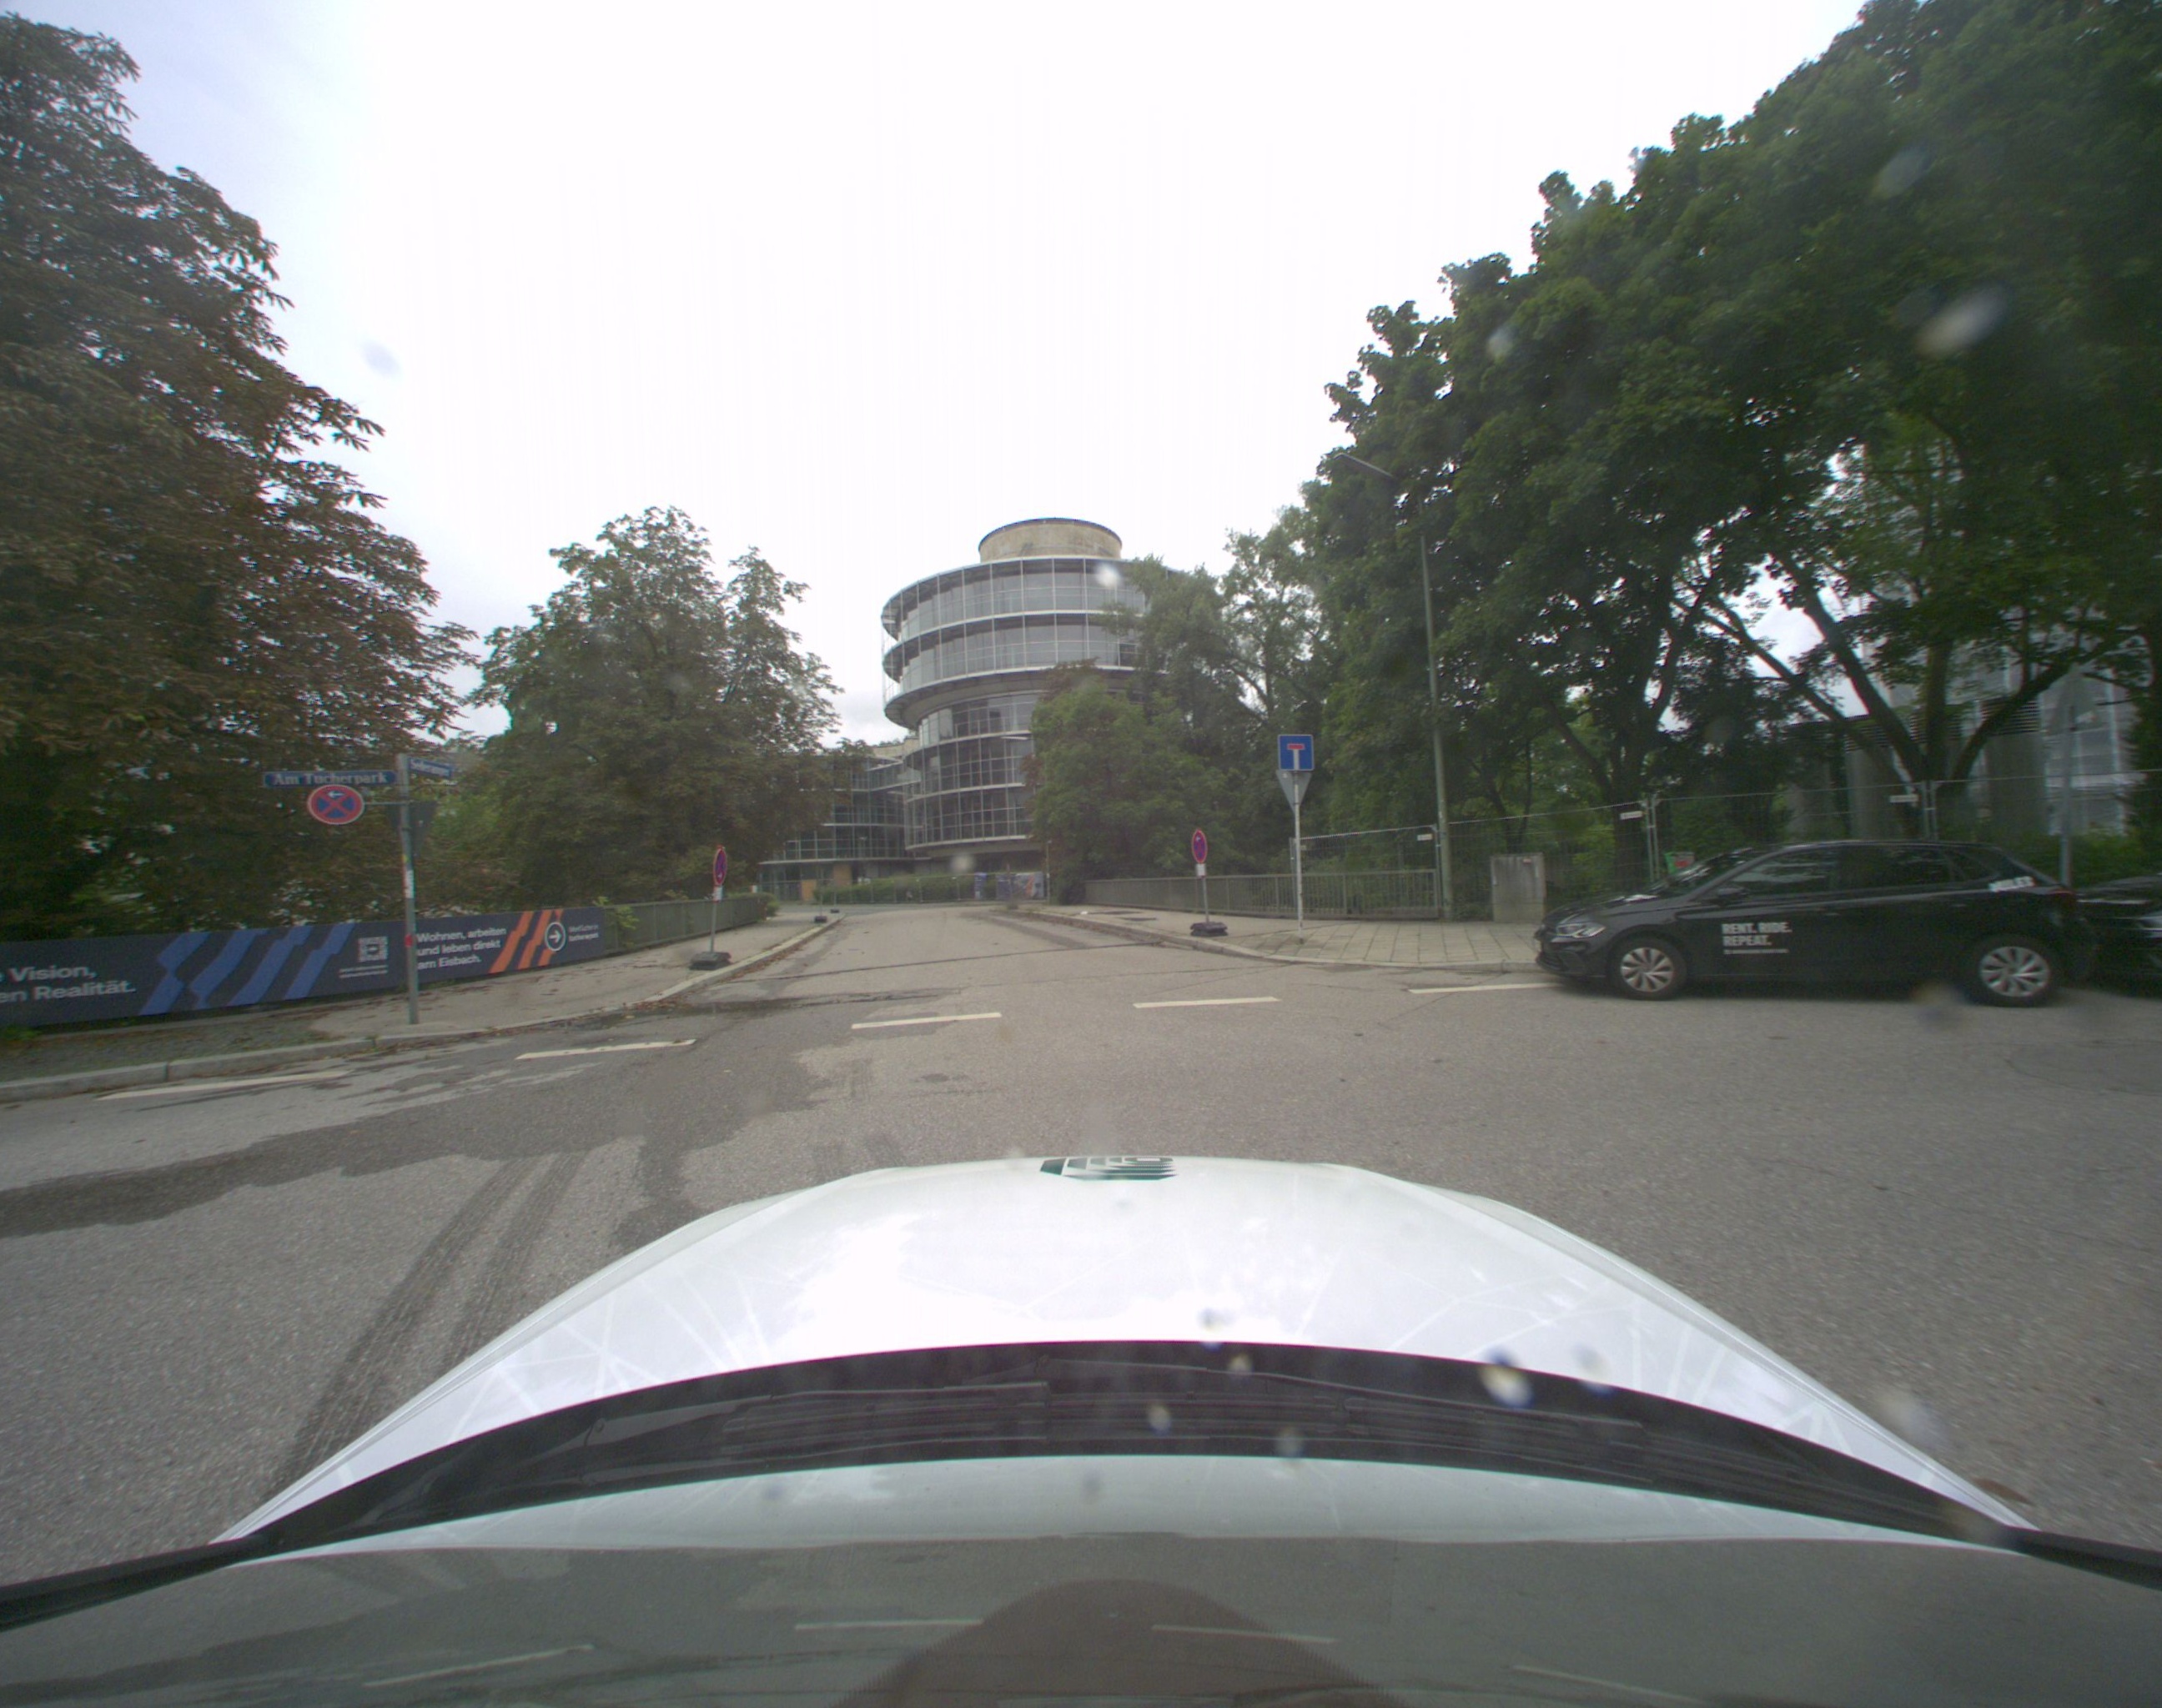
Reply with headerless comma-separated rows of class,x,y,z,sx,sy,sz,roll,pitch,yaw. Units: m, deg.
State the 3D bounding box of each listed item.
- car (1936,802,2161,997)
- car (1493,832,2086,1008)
car,10.530,0.290,6.937,3.956,1.541,2.008,-3,-2,16
car,6.537,0.615,8.177,3.996,1.432,2.010,-3,0,19
